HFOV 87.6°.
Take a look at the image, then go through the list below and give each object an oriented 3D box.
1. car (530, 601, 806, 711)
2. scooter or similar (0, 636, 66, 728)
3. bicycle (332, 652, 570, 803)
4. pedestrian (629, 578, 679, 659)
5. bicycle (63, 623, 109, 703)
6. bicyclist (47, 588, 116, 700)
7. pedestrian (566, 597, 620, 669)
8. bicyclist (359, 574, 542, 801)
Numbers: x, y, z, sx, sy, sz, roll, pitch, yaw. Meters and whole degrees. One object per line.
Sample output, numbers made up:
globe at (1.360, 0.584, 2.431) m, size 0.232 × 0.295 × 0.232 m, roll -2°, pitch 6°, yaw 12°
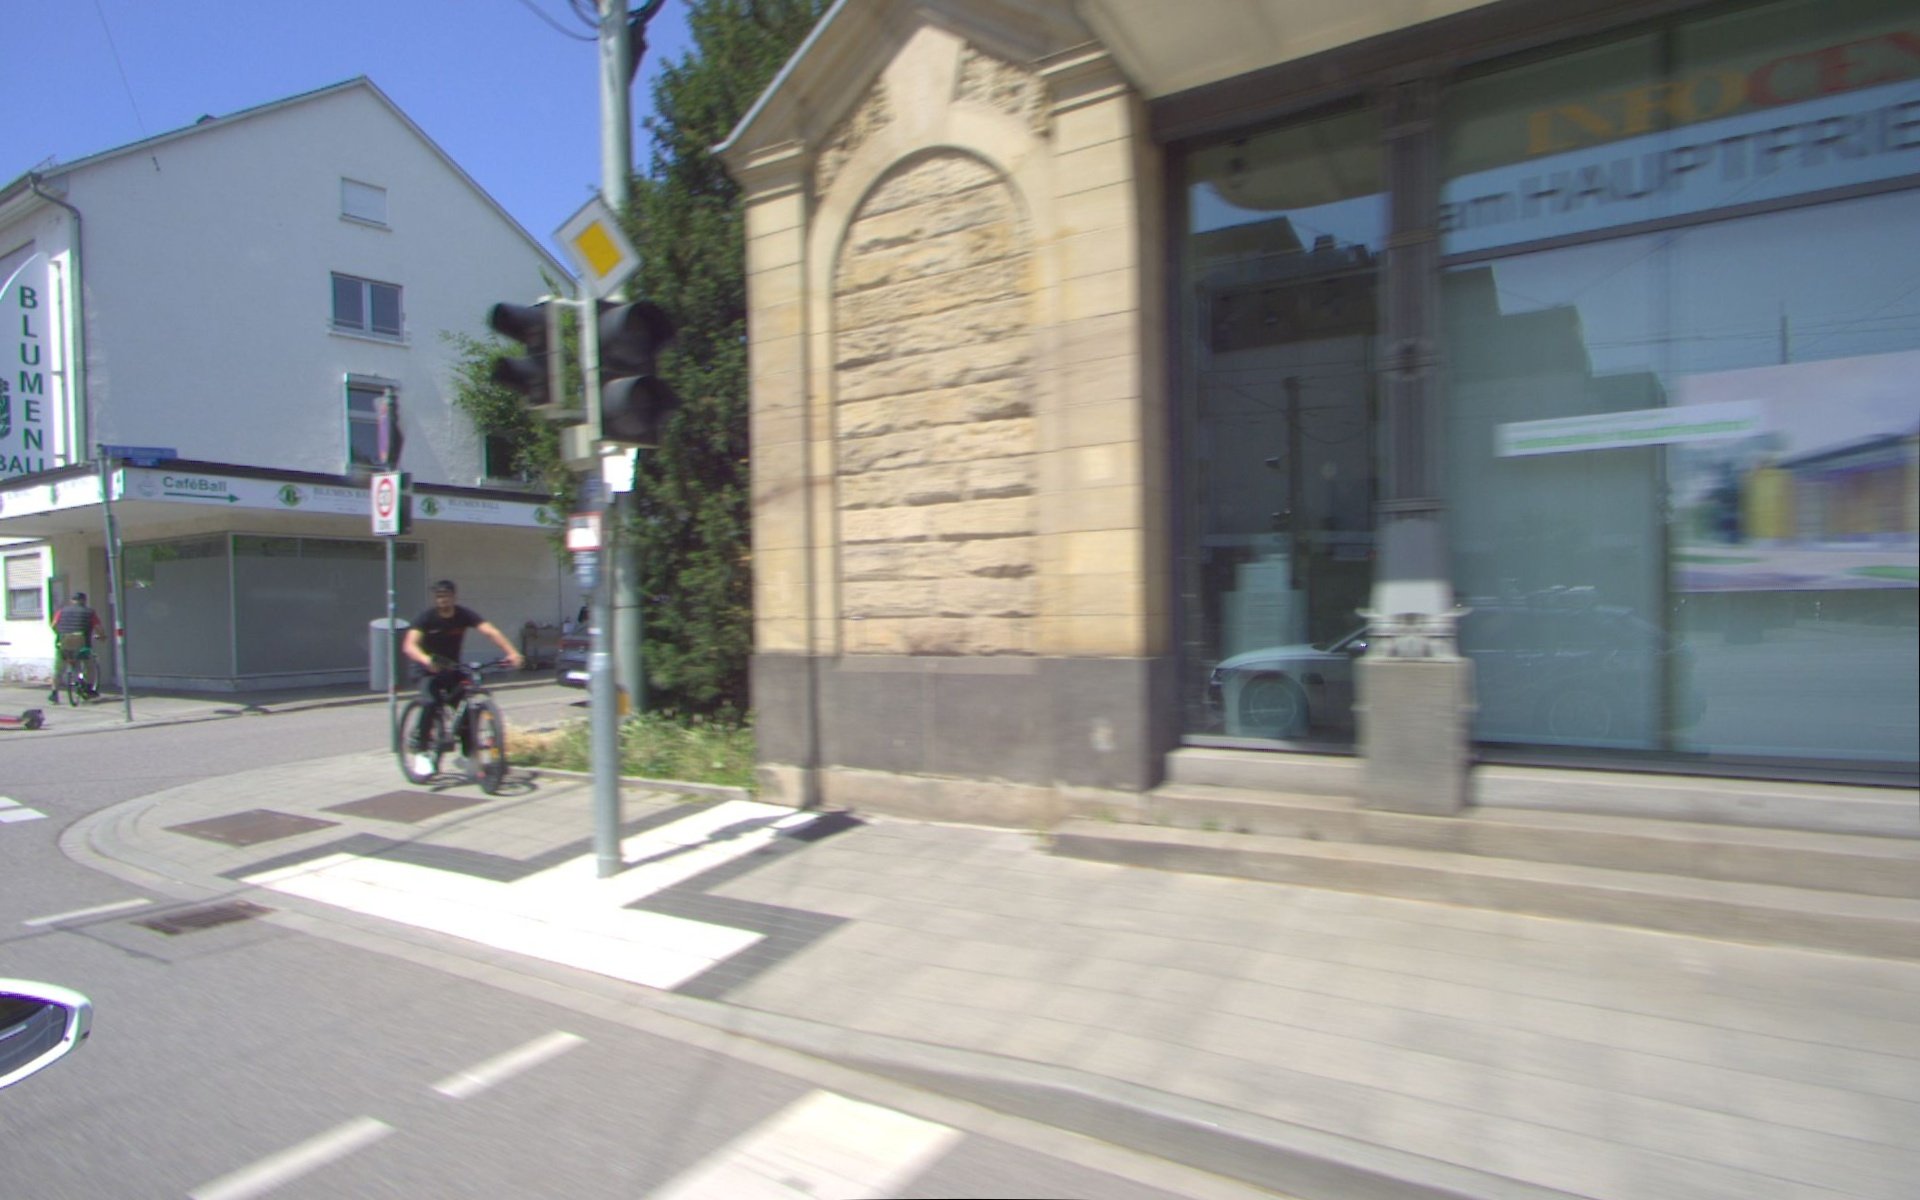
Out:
car at (-4.458, 0.769, 15.929) m, size 1.685 × 1.451 × 4.218 m, roll 2°, pitch 1°, yaw 31°
scooter or similar at (-12.775, 1.096, 13.387) m, size 1.439 × 1.193 × 0.340 m, roll -1°, pitch 1°, yaw 7°
bicycle at (-4.058, 0.962, 7.967) m, size 1.834 × 1.017 × 0.667 m, roll -1°, pitch 5°, yaw 27°
pedestrian at (-7.458, 0.432, 24.423) m, size 0.739 × 1.929 × 0.854 m, roll 0°, pitch 1°, yaw 32°
bicycle at (-14.454, 1.012, 16.577) m, size 0.372 × 1.213 × 1.891 m, roll -2°, pitch 1°, yaw -36°
bicyclist at (-14.595, 0.708, 16.653) m, size 0.720 × 1.784 × 0.917 m, roll -2°, pitch 1°, yaw -36°
pedestrian at (-8.264, 0.732, 22.591) m, size 0.697 × 1.564 × 0.909 m, roll 2°, pitch 2°, yaw 32°
bicyclist at (-4.032, 0.656, 7.966) m, size 0.846 × 1.641 × 0.831 m, roll -1°, pitch 5°, yaw 27°
